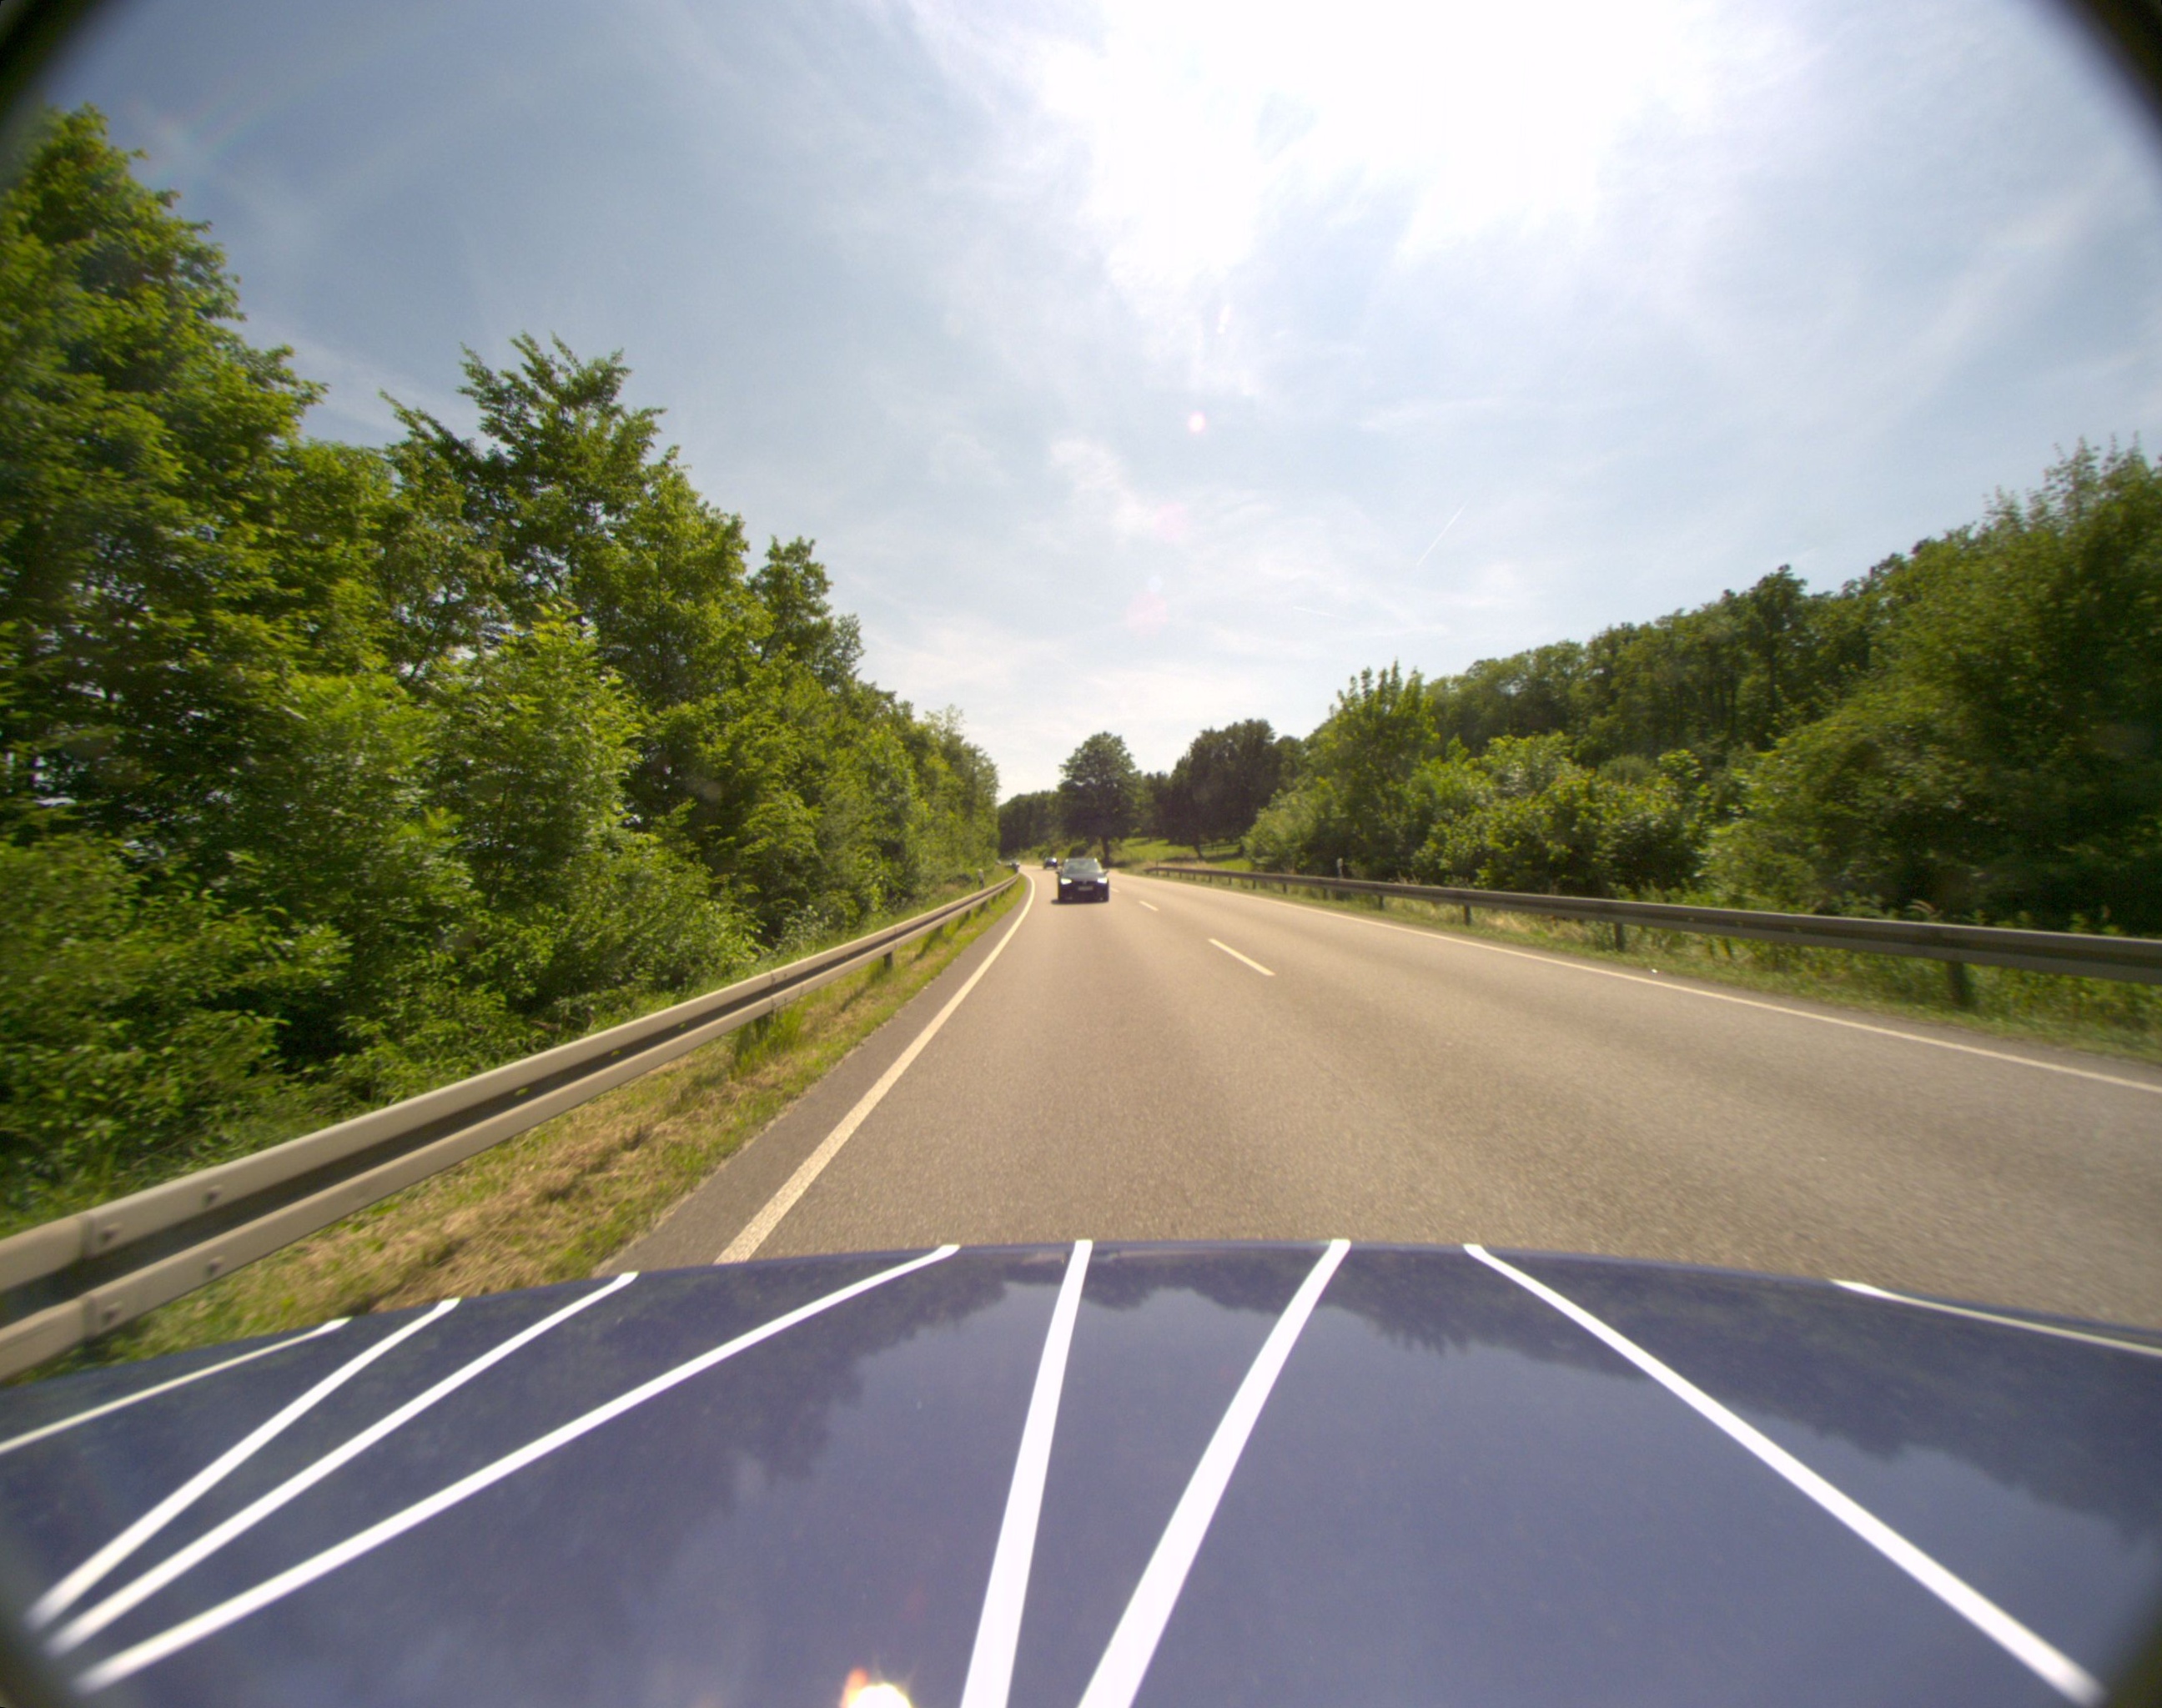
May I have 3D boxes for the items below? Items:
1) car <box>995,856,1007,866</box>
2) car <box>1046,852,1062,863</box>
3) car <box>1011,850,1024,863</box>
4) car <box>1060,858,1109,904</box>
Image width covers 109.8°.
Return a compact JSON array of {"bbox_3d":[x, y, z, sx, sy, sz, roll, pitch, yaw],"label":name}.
[{"bbox_3d":[-17.794,1.500,168.894,2.000,2.002,3.996,-3,1,-12],"label":"car"},{"bbox_3d":[-3.939,0.530,110.882,1.869,1.518,3.888,-2,0,-7],"label":"car"},{"bbox_3d":[-11.212,0.435,133.742,1.999,2.002,3.997,-3,1,-6],"label":"car"},{"bbox_3d":[0.070,0.940,27.365,1.662,1.531,3.486,0,-1,-2],"label":"car"}]
